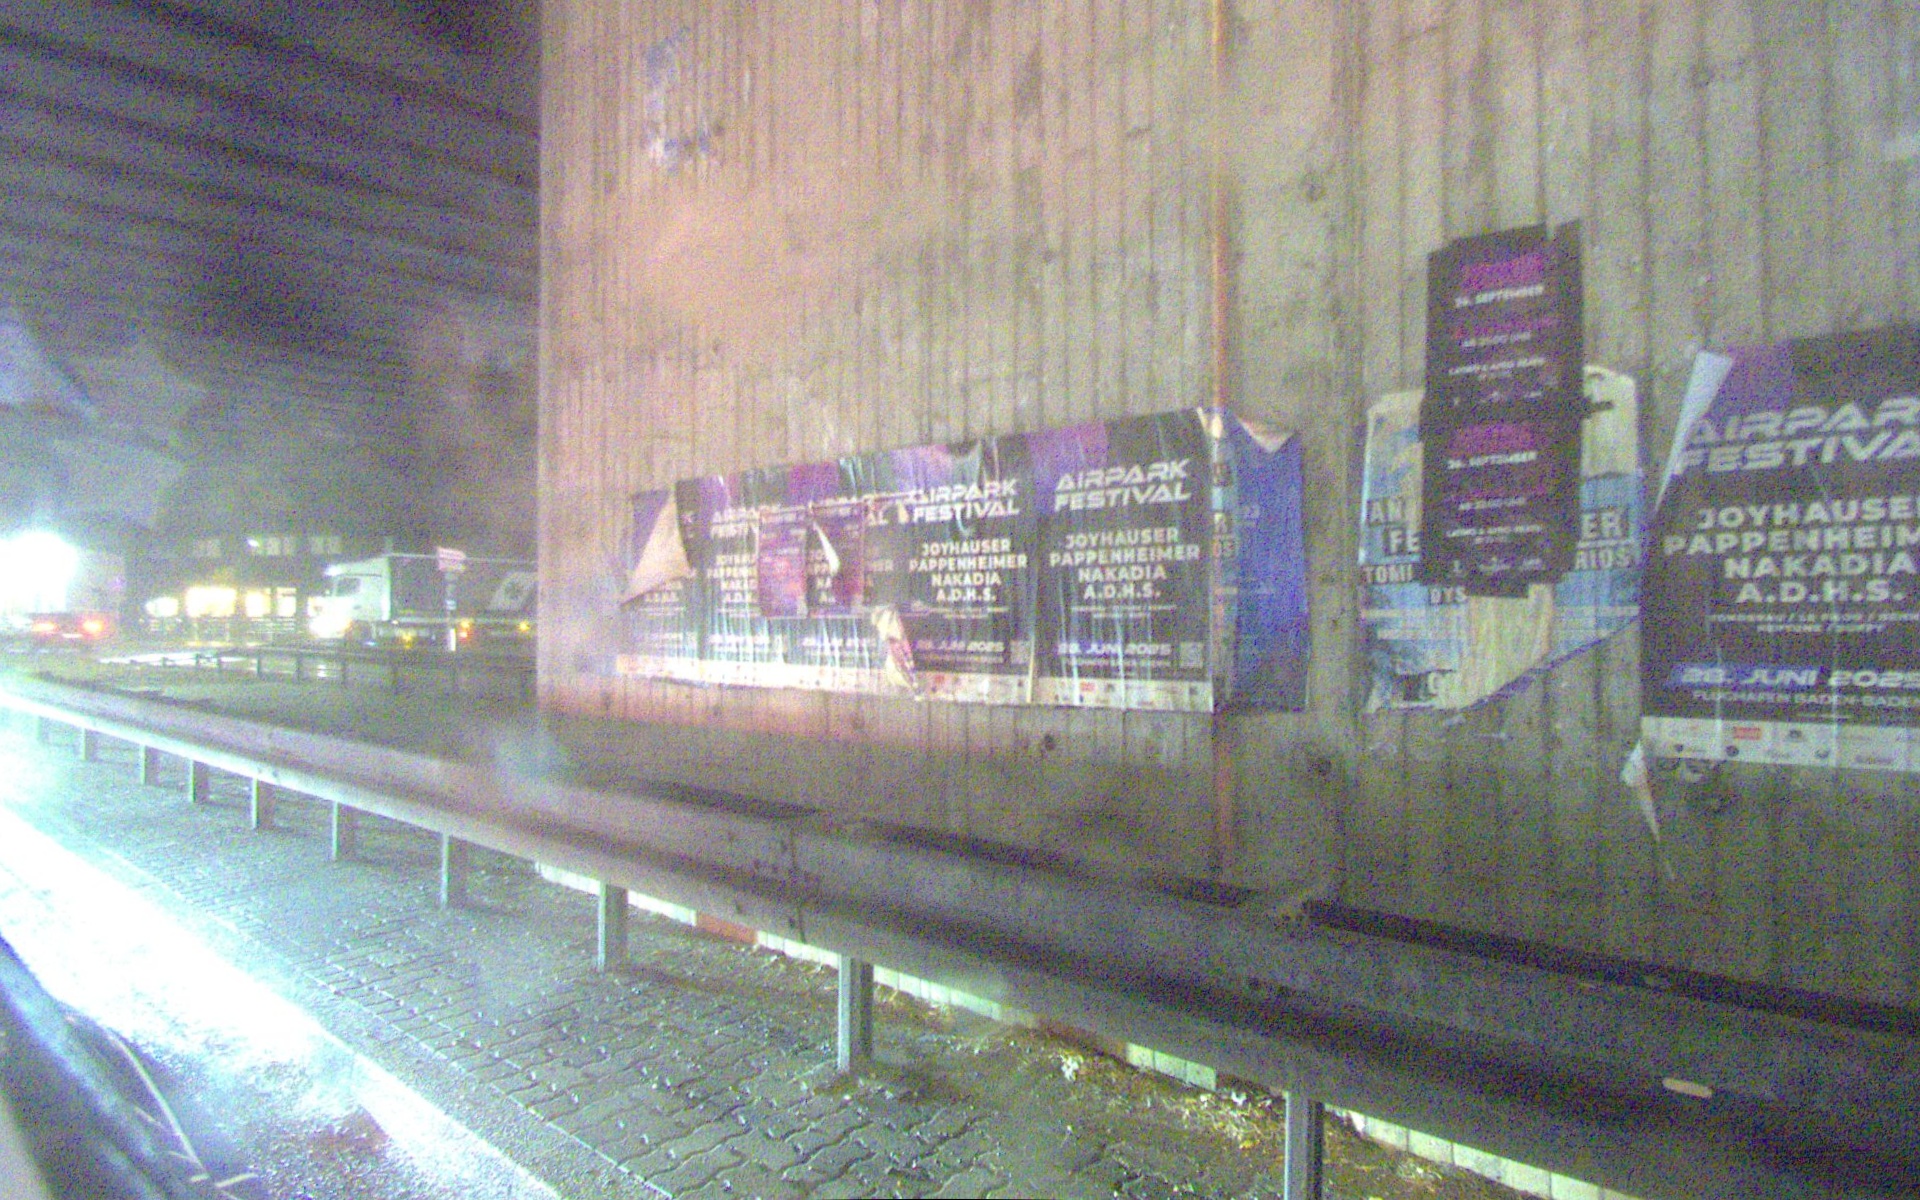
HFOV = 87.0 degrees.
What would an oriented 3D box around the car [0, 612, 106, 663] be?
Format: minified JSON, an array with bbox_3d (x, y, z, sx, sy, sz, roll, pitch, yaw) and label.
[{"bbox_3d":[-31.465,1.262,34.837,3.986,1.617,1.979,-1,0,31],"label":"car"}]

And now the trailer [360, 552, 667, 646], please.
[{"bbox_3d":[-22.125,-0.088,51.253,13.713,4.208,3.973,-1,0,-44],"label":"trailer"}]

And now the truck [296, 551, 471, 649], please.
[{"bbox_3d":[-26.646,-0.025,46.906,6.281,4.208,3.973,-1,0,-44],"label":"truck"}]
